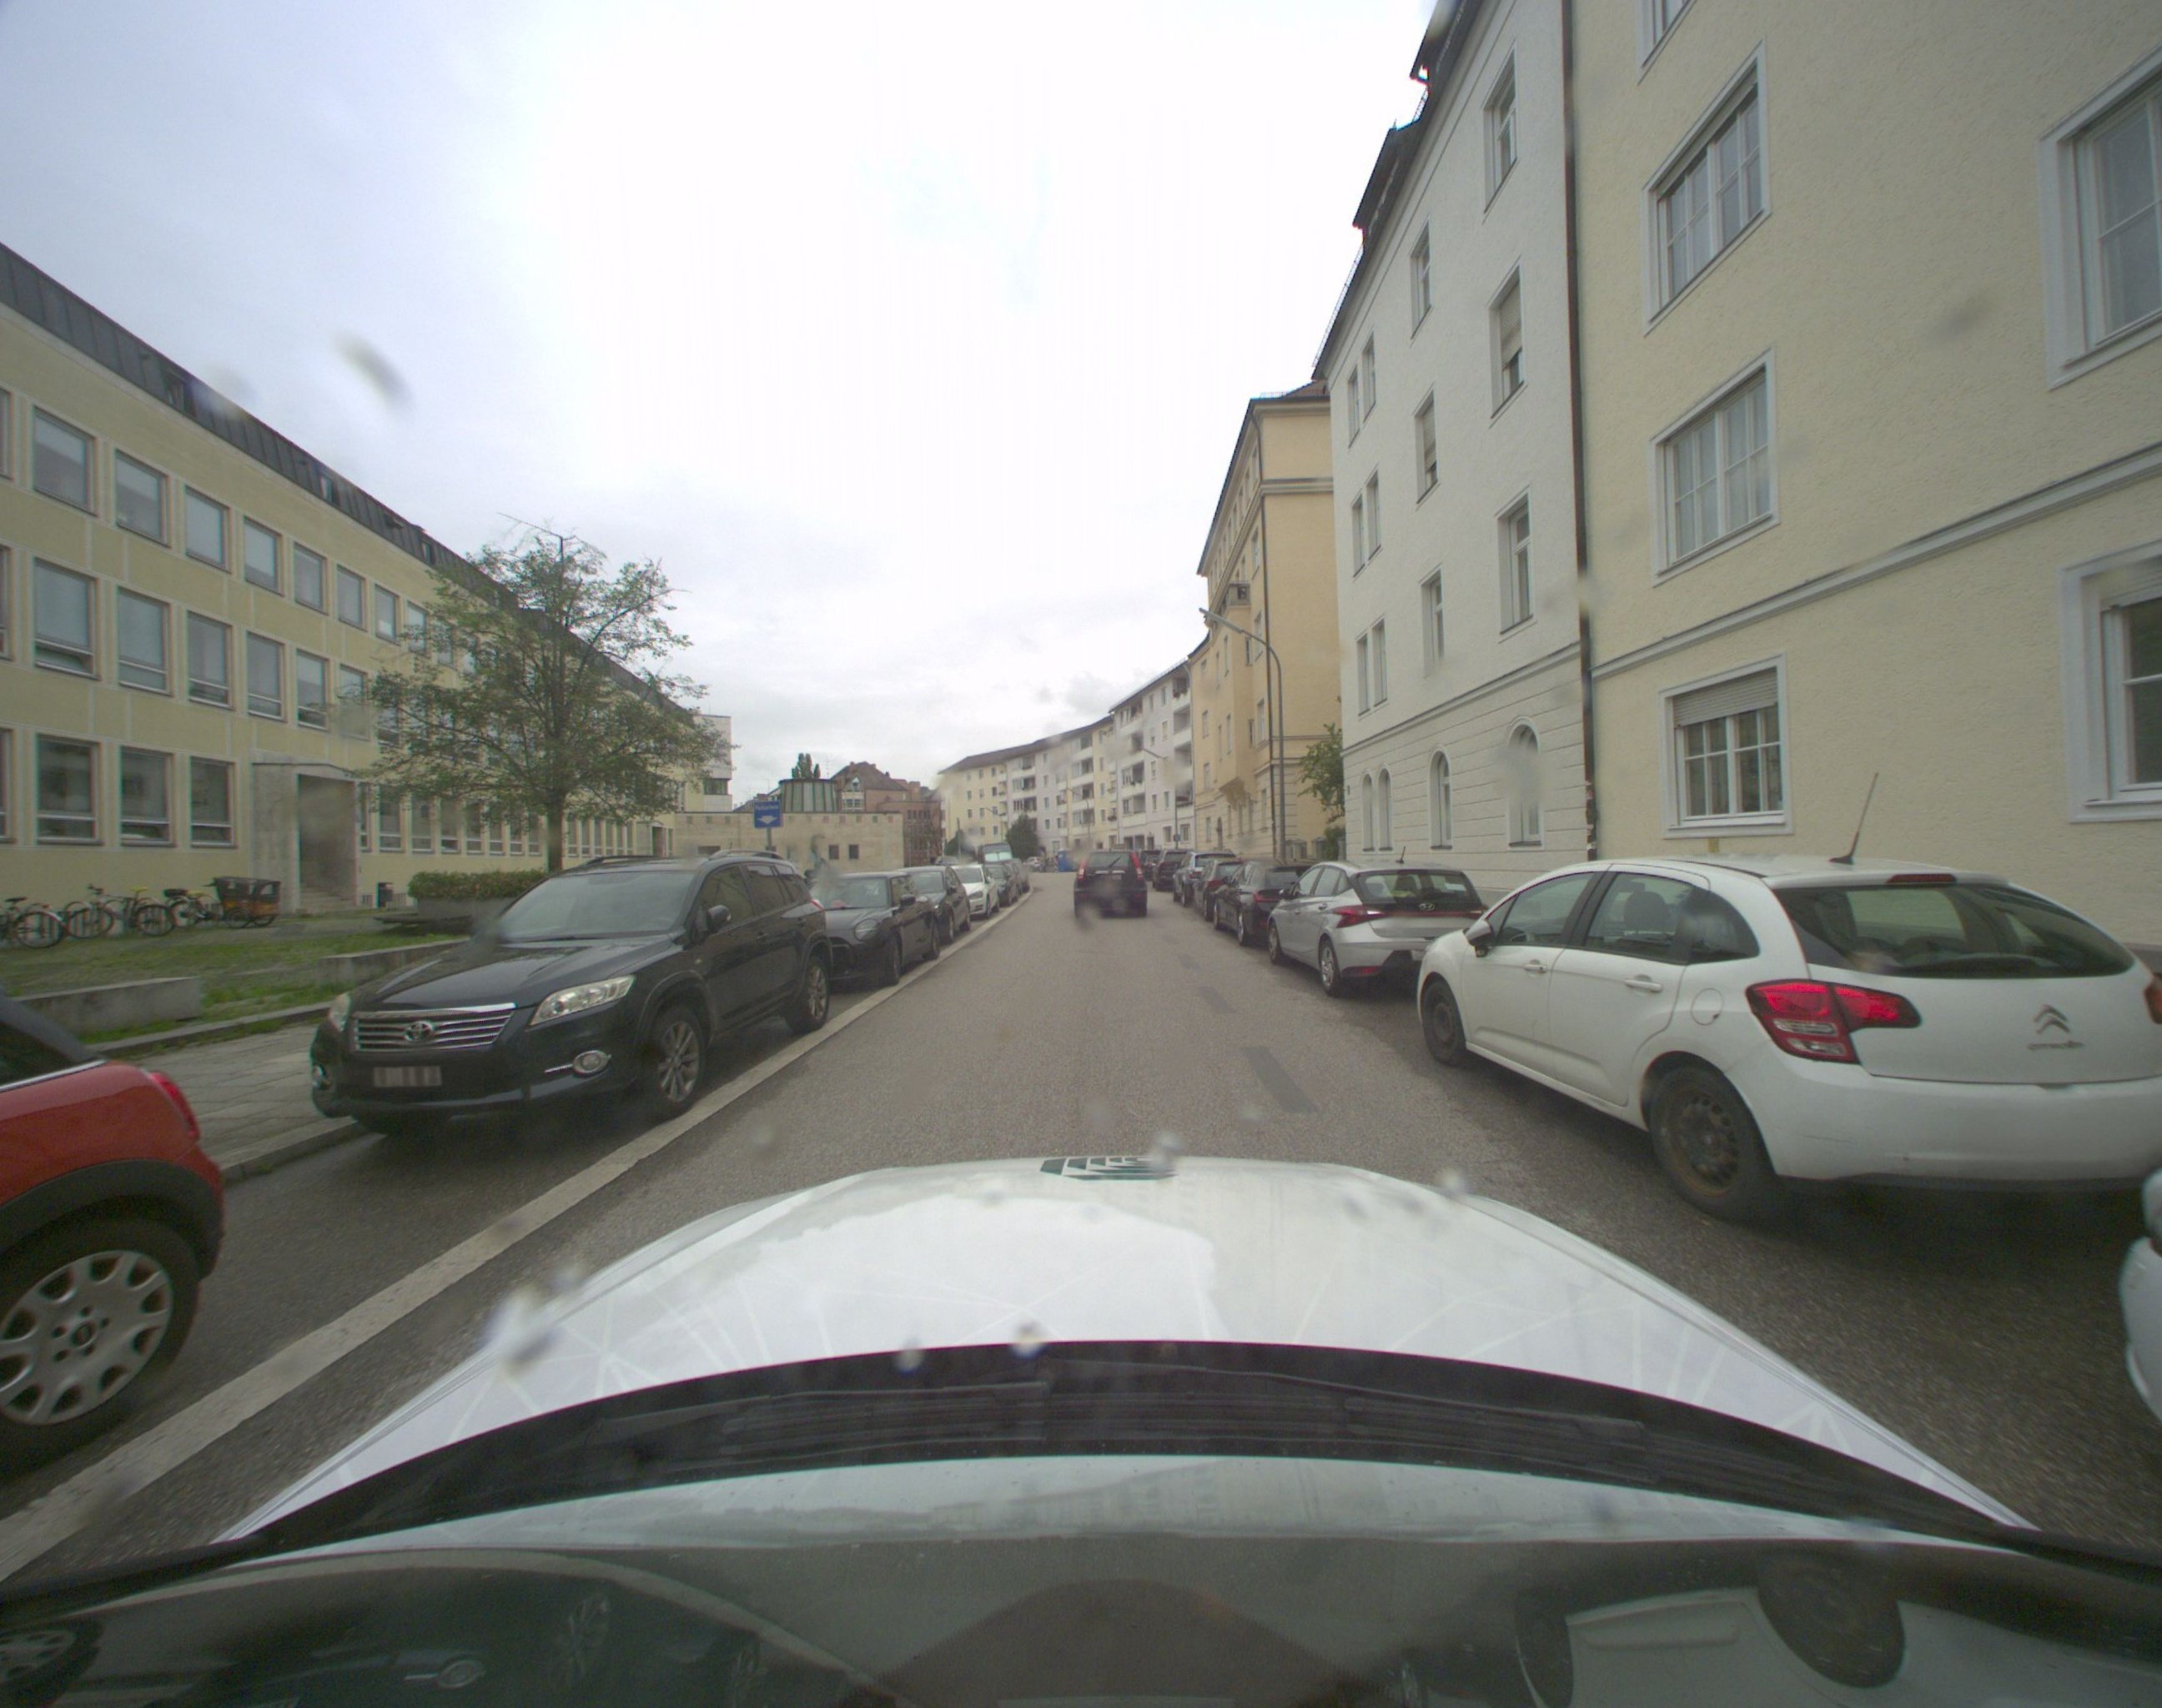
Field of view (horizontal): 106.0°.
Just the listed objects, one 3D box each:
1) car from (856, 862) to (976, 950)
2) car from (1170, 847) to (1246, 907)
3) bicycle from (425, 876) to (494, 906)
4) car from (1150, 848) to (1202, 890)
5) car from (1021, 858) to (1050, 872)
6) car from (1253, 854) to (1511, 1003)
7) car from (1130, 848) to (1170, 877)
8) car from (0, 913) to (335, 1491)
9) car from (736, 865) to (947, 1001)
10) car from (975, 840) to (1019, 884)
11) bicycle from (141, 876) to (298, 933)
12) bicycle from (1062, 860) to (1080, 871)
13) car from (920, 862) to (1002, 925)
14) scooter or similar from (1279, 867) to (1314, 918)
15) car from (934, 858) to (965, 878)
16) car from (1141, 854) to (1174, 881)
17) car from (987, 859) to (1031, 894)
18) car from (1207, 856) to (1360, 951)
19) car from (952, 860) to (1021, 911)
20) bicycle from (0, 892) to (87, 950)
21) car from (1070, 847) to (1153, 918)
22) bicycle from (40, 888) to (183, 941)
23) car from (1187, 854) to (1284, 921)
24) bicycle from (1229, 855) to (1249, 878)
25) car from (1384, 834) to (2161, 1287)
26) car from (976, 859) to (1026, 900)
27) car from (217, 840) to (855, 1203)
[{"bbox_3d":[-3.236,0.962,16.736,1.652,1.453,3.972,-3,0,-1],"label":"car"},{"bbox_3d":[3.812,0.658,25.125,1.716,1.634,4.458,-1,0,1],"label":"car"},{"bbox_3d":[-22.941,1.358,30.077,1.946,1.014,0.623,-1,0,-9],"label":"bicycle"},{"bbox_3d":[4.019,0.618,35.157,1.862,1.717,4.867,0,0,2],"label":"car"},{"bbox_3d":[-5.034,1.154,88.986,1.733,1.483,3.965,-1,0,-26],"label":"car"},{"bbox_3d":[3.426,0.752,10.153,1.673,1.427,4.166,-1,0,0],"label":"car"},{"bbox_3d":[4.366,0.527,52.275,1.776,1.807,4.266,0,0,-7],"label":"car"},{"bbox_3d":[-3.625,0.915,0.988,1.737,1.387,3.920,-1,0,2],"label":"car"},{"bbox_3d":[-3.128,0.945,11.478,1.674,1.453,3.870,-3,0,1],"label":"car"},{"bbox_3d":[-5.637,0.501,53.815,2.166,2.641,5.992,-3,0,-12],"label":"car"},{"bbox_3d":[-21.210,1.220,20.131,2.439,1.248,1.051,-1,0,-16],"label":"bicycle"},{"bbox_3d":[-1.105,1.292,91.816,1.872,1.091,0.561,-1,-1,-21],"label":"bicycle"},{"bbox_3d":[-3.215,0.999,22.454,1.652,1.453,4.071,-3,0,-1],"label":"car"},{"bbox_3d":[5.108,0.887,19.355,0.483,1.164,1.172,-1,-1,-1],"label":"scooter or similar"},{"bbox_3d":[-12.282,1.315,75.982,1.687,1.707,4.475,-1,-1,-25],"label":"car"},{"bbox_3d":[4.370,0.760,47.027,1.701,1.447,3.832,0,0,3],"label":"car"},{"bbox_3d":[-3.252,1.001,37.509,1.795,1.406,4.450,-3,0,-3],"label":"car"},{"bbox_3d":[3.455,0.774,14.736,1.673,1.427,4.391,-1,0,0],"label":"car"},{"bbox_3d":[-3.117,1.000,27.614,1.749,1.453,4.395,-3,0,0],"label":"car"},{"bbox_3d":[-20.172,1.266,15.248,1.950,1.014,0.622,-1,0,-16],"label":"bicycle"},{"bbox_3d":[0.693,0.690,21.341,1.886,1.647,3.988,-1,0,-2],"label":"car"},{"bbox_3d":[-20.832,1.286,17.536,1.950,1.014,0.622,-1,0,-16],"label":"bicycle"},{"bbox_3d":[3.678,0.758,20.077,1.673,1.427,4.088,-1,0,1],"label":"car"},{"bbox_3d":[7.734,0.604,39.819,0.577,1.083,1.954,-4,0,2],"label":"bicycle"},{"bbox_3d":[3.403,0.693,4.810,1.673,1.481,4.166,-1,0,0],"label":"car"},{"bbox_3d":[-3.152,0.971,32.676,1.652,1.453,3.310,-3,0,-1],"label":"car"},{"bbox_3d":[-3.338,0.840,6.282,1.738,1.666,4.449,-5,0,1],"label":"car"}]
